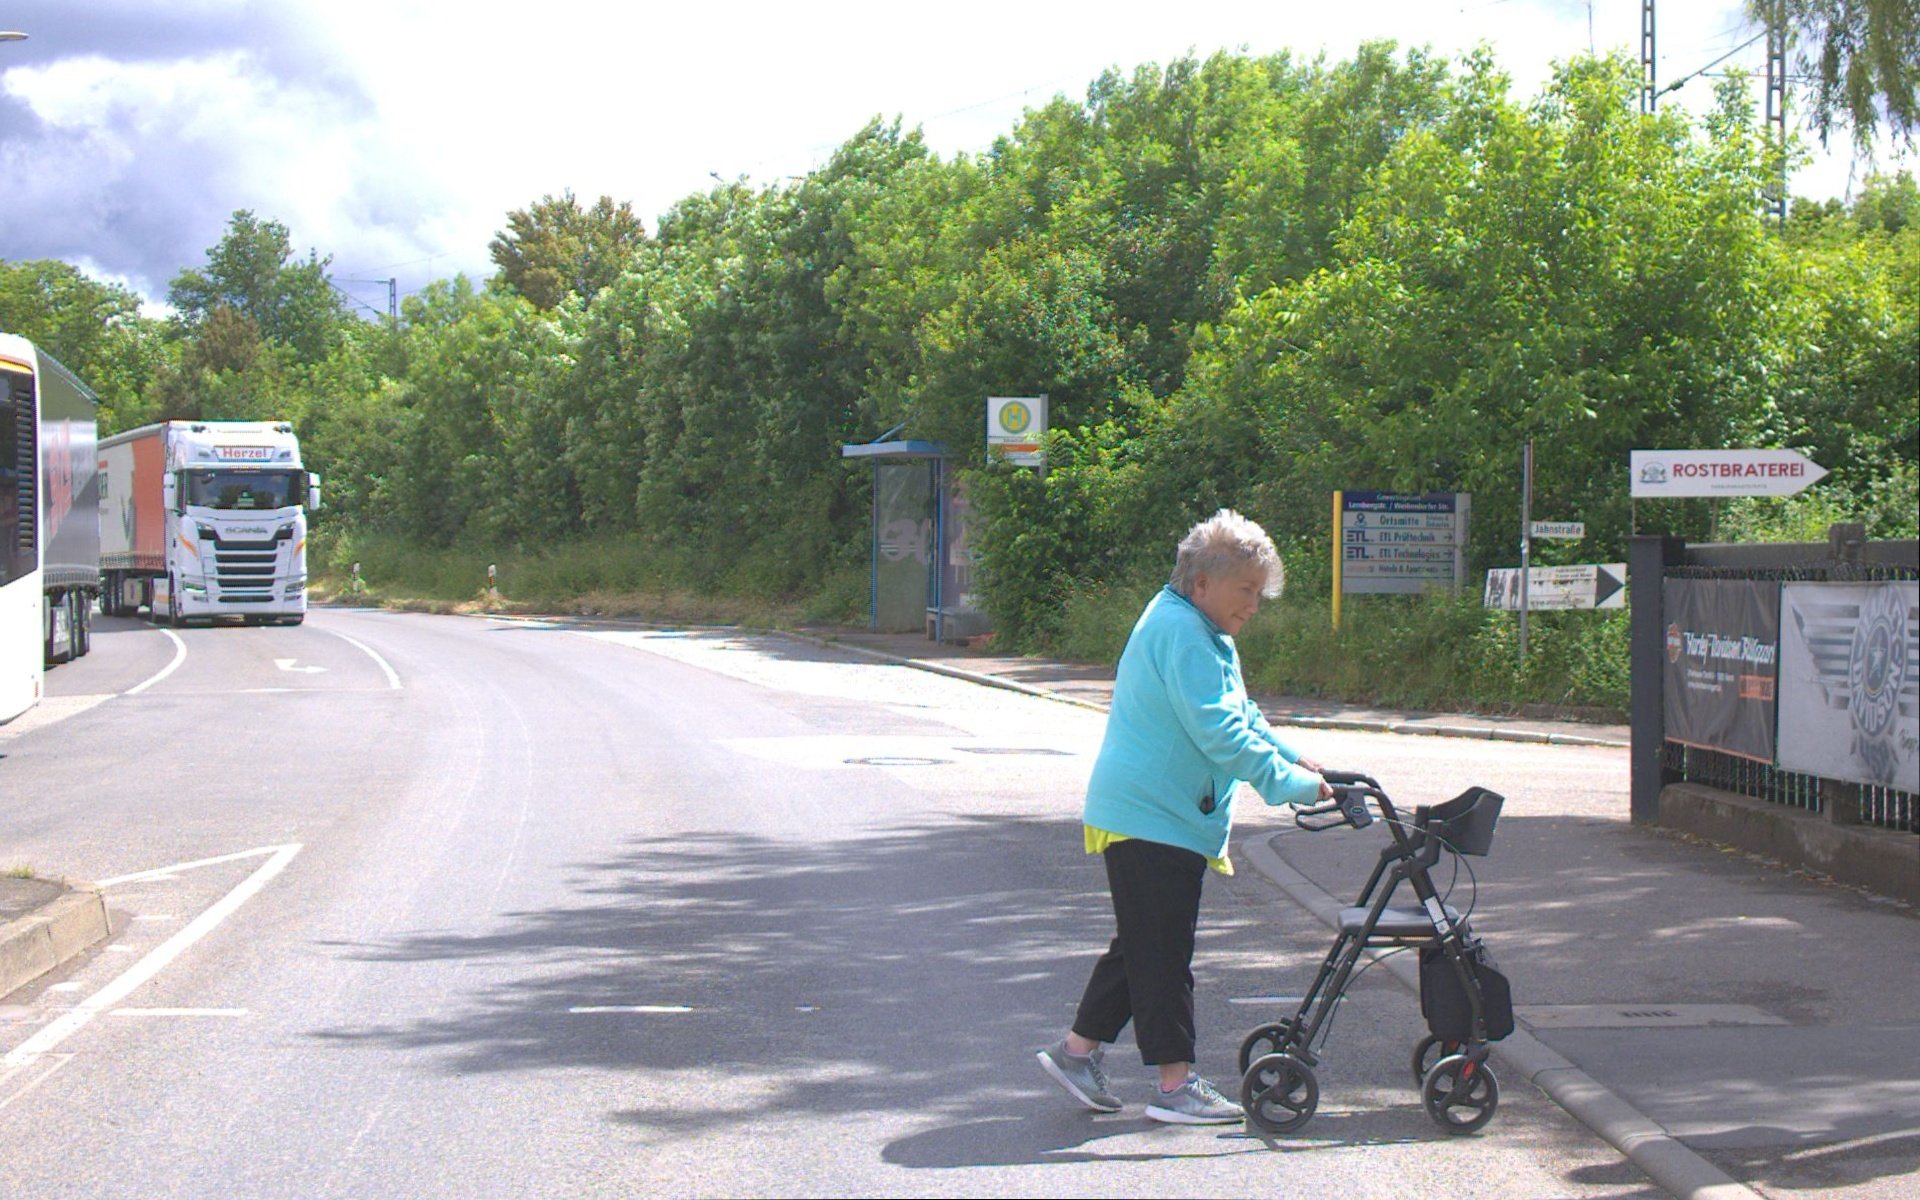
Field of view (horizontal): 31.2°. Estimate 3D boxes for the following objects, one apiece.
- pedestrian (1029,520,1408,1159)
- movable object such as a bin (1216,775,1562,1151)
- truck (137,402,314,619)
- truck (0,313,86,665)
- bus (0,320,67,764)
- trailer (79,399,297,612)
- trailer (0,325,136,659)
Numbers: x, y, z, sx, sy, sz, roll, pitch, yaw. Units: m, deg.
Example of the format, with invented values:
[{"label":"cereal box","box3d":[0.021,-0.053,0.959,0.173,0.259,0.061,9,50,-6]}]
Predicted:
[{"label":"pedestrian","box3d":[0.632,0.579,8.675,0.838,1.538,0.734,1,0,-4]},{"label":"movable object such as a bin","box3d":[1.070,0.902,8.703,0.746,0.868,0.671,1,0,-4]},{"label":"truck","box3d":[-14.616,-1.741,68.160,2.770,4.105,4.988,1,1,-19]},{"label":"truck","box3d":[-12.507,-1.330,42.542,2.798,4.039,6.503,1,1,-10]},{"label":"bus","box3d":[-7.837,-0.343,19.019,2.718,3.020,12.266,0,1,-1]},{"label":"trailer","box3d":[-16.986,-1.950,74.707,2.770,4.130,15.355,1,1,-19]},{"label":"trailer","box3d":[-13.702,-1.414,49.225,2.798,4.039,15.560,1,1,-10]}]
